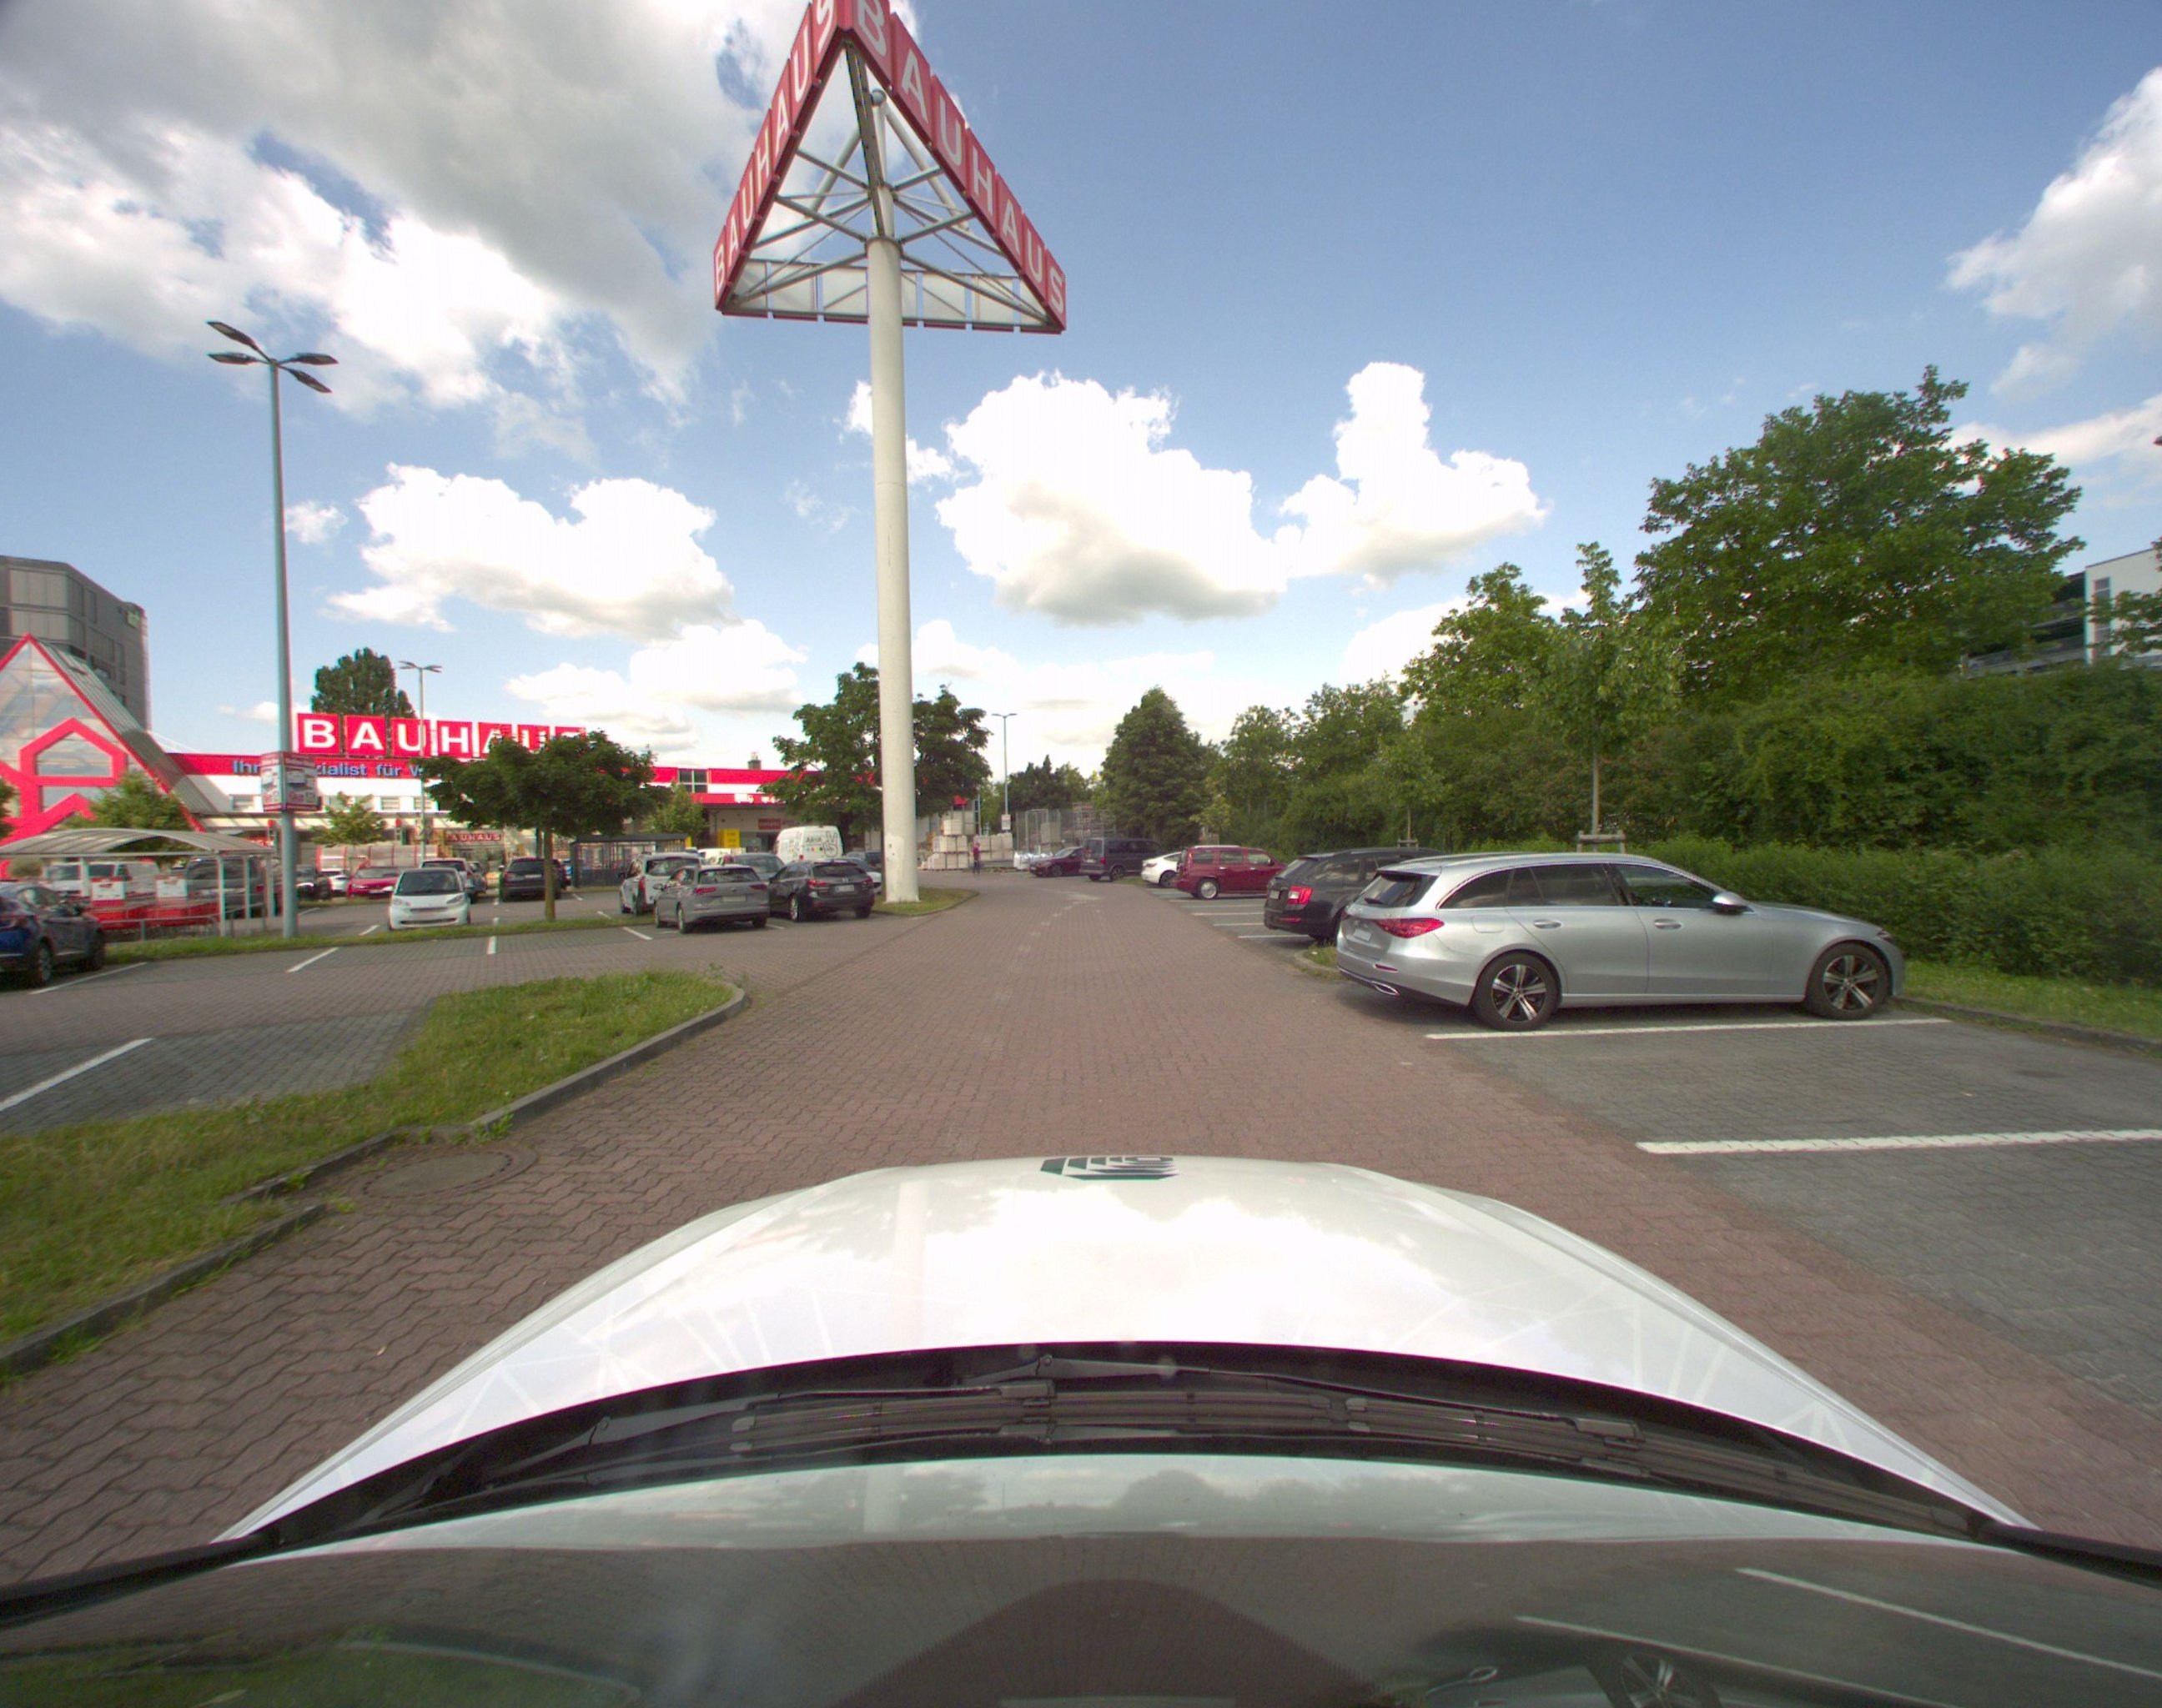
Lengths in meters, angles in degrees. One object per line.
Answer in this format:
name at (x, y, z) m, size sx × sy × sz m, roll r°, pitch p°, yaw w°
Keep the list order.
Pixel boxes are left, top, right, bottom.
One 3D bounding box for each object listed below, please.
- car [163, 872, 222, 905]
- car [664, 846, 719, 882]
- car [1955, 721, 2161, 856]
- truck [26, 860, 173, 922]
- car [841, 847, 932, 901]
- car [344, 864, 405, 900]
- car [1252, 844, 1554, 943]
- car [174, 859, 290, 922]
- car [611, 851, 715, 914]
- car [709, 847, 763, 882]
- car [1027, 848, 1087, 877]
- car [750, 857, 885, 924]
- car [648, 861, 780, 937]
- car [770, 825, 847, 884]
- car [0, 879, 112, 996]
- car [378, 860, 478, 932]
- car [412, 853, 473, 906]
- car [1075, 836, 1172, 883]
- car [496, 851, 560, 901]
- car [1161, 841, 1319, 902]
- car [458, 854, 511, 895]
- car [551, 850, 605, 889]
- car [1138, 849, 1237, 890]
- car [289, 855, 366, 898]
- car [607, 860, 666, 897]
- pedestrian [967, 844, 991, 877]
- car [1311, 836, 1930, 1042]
car at (-41.075, 1.551, 37.718) m, size 1.397 × 1.397 × 3.359 m, roll -3°, pitch 1°, yaw -41°
car at (-22.771, 0.614, 47.562) m, size 2.010 × 2.014 × 3.954 m, roll 2°, pitch -2°, yaw -39°
car at (24.984, -1.497, 18.810) m, size 1.988 × 2.885 × 6.985 m, roll 0°, pitch -2°, yaw -1°
truck at (-35.003, 1.288, 29.262) m, size 1.867 × 2.014 × 5.351 m, roll 1°, pitch -2°, yaw -34°
car at (-6.626, 0.637, 27.446) m, size 2.005 × 1.618 × 3.963 m, roll -2°, pitch 0°, yaw -29°
car at (-28.299, 1.113, 32.675) m, size 1.751 × 1.340 × 3.425 m, roll 2°, pitch -2°, yaw -41°
car at (4.803, 0.577, 12.517) m, size 3.977 × 1.381 × 1.697 m, roll 0°, pitch -2°, yaw -3°
car at (-27.099, 1.111, 26.130) m, size 2.010 × 1.778 × 3.954 m, roll -2°, pitch 0°, yaw -39°
car at (-11.983, 0.762, 23.218) m, size 1.919 × 1.596 × 3.955 m, roll -2°, pitch 1°, yaw -37°
car at (-21.030, 0.635, 49.581) m, size 2.010 × 2.014 × 3.954 m, roll -1°, pitch -1°, yaw -39°
car at (-1.217, 0.440, 40.926) m, size 2.696 × 1.432 × 1.342 m, roll 1°, pitch -2°, yaw -28°
car at (-6.702, 0.854, 20.452) m, size 1.837 × 1.439 × 4.043 m, roll -2°, pitch 1°, yaw -40°
car at (-8.255, 0.921, 18.163) m, size 1.734 × 1.446 × 3.729 m, roll -2°, pitch 1°, yaw -40°
car at (-12.563, 0.013, 37.411) m, size 2.062 × 2.510 × 4.677 m, roll -1°, pitch 1°, yaw -35°
car at (-16.882, 1.255, 12.582) m, size 1.761 × 1.615 × 3.681 m, roll -2°, pitch 1°, yaw -39°
car at (-16.681, 1.003, 20.962) m, size 1.727 × 1.596 × 3.956 m, roll -2°, pitch 0°, yaw -35°
car at (-23.232, 0.893, 29.700) m, size 1.610 × 1.743 × 3.131 m, roll -4°, pitch 1°, yaw -37°
car at (1.984, 0.255, 37.399) m, size 4.071 × 2.019 × 1.927 m, roll 0°, pitch -1°, yaw -32°
car at (-20.968, 0.776, 30.847) m, size 1.773 × 1.524 × 3.432 m, roll -4°, pitch 5°, yaw -37°
car at (4.693, 0.492, 24.467) m, size 4.297 × 1.596 × 1.998 m, roll -2°, pitch 0°, yaw -4°
car at (-30.762, 1.068, 41.986) m, size 2.010 × 2.014 × 3.954 m, roll 2°, pitch -2°, yaw -39°
car at (-27.464, 0.857, 44.452) m, size 2.010 × 2.014 × 3.954 m, roll 2°, pitch -2°, yaw -39°
car at (4.131, 0.605, 31.894) m, size 3.622 × 1.468 × 1.633 m, roll -2°, pitch -1°, yaw -2°
car at (-37.340, 1.129, 40.473) m, size 2.006 × 2.014 × 3.960 m, roll 1°, pitch -2°, yaw -31°
car at (-17.883, 0.981, 32.689) m, size 1.550 × 1.405 × 3.585 m, roll 2°, pitch -2°, yaw -37°
pedestrian at (-5.418, 0.343, 43.162) m, size 0.911 × 1.665 × 0.789 m, roll -2°, pitch 0°, yaw 27°
car at (4.722, 0.680, 7.576) m, size 4.627 × 1.504 × 1.783 m, roll -2°, pitch 0°, yaw -2°
